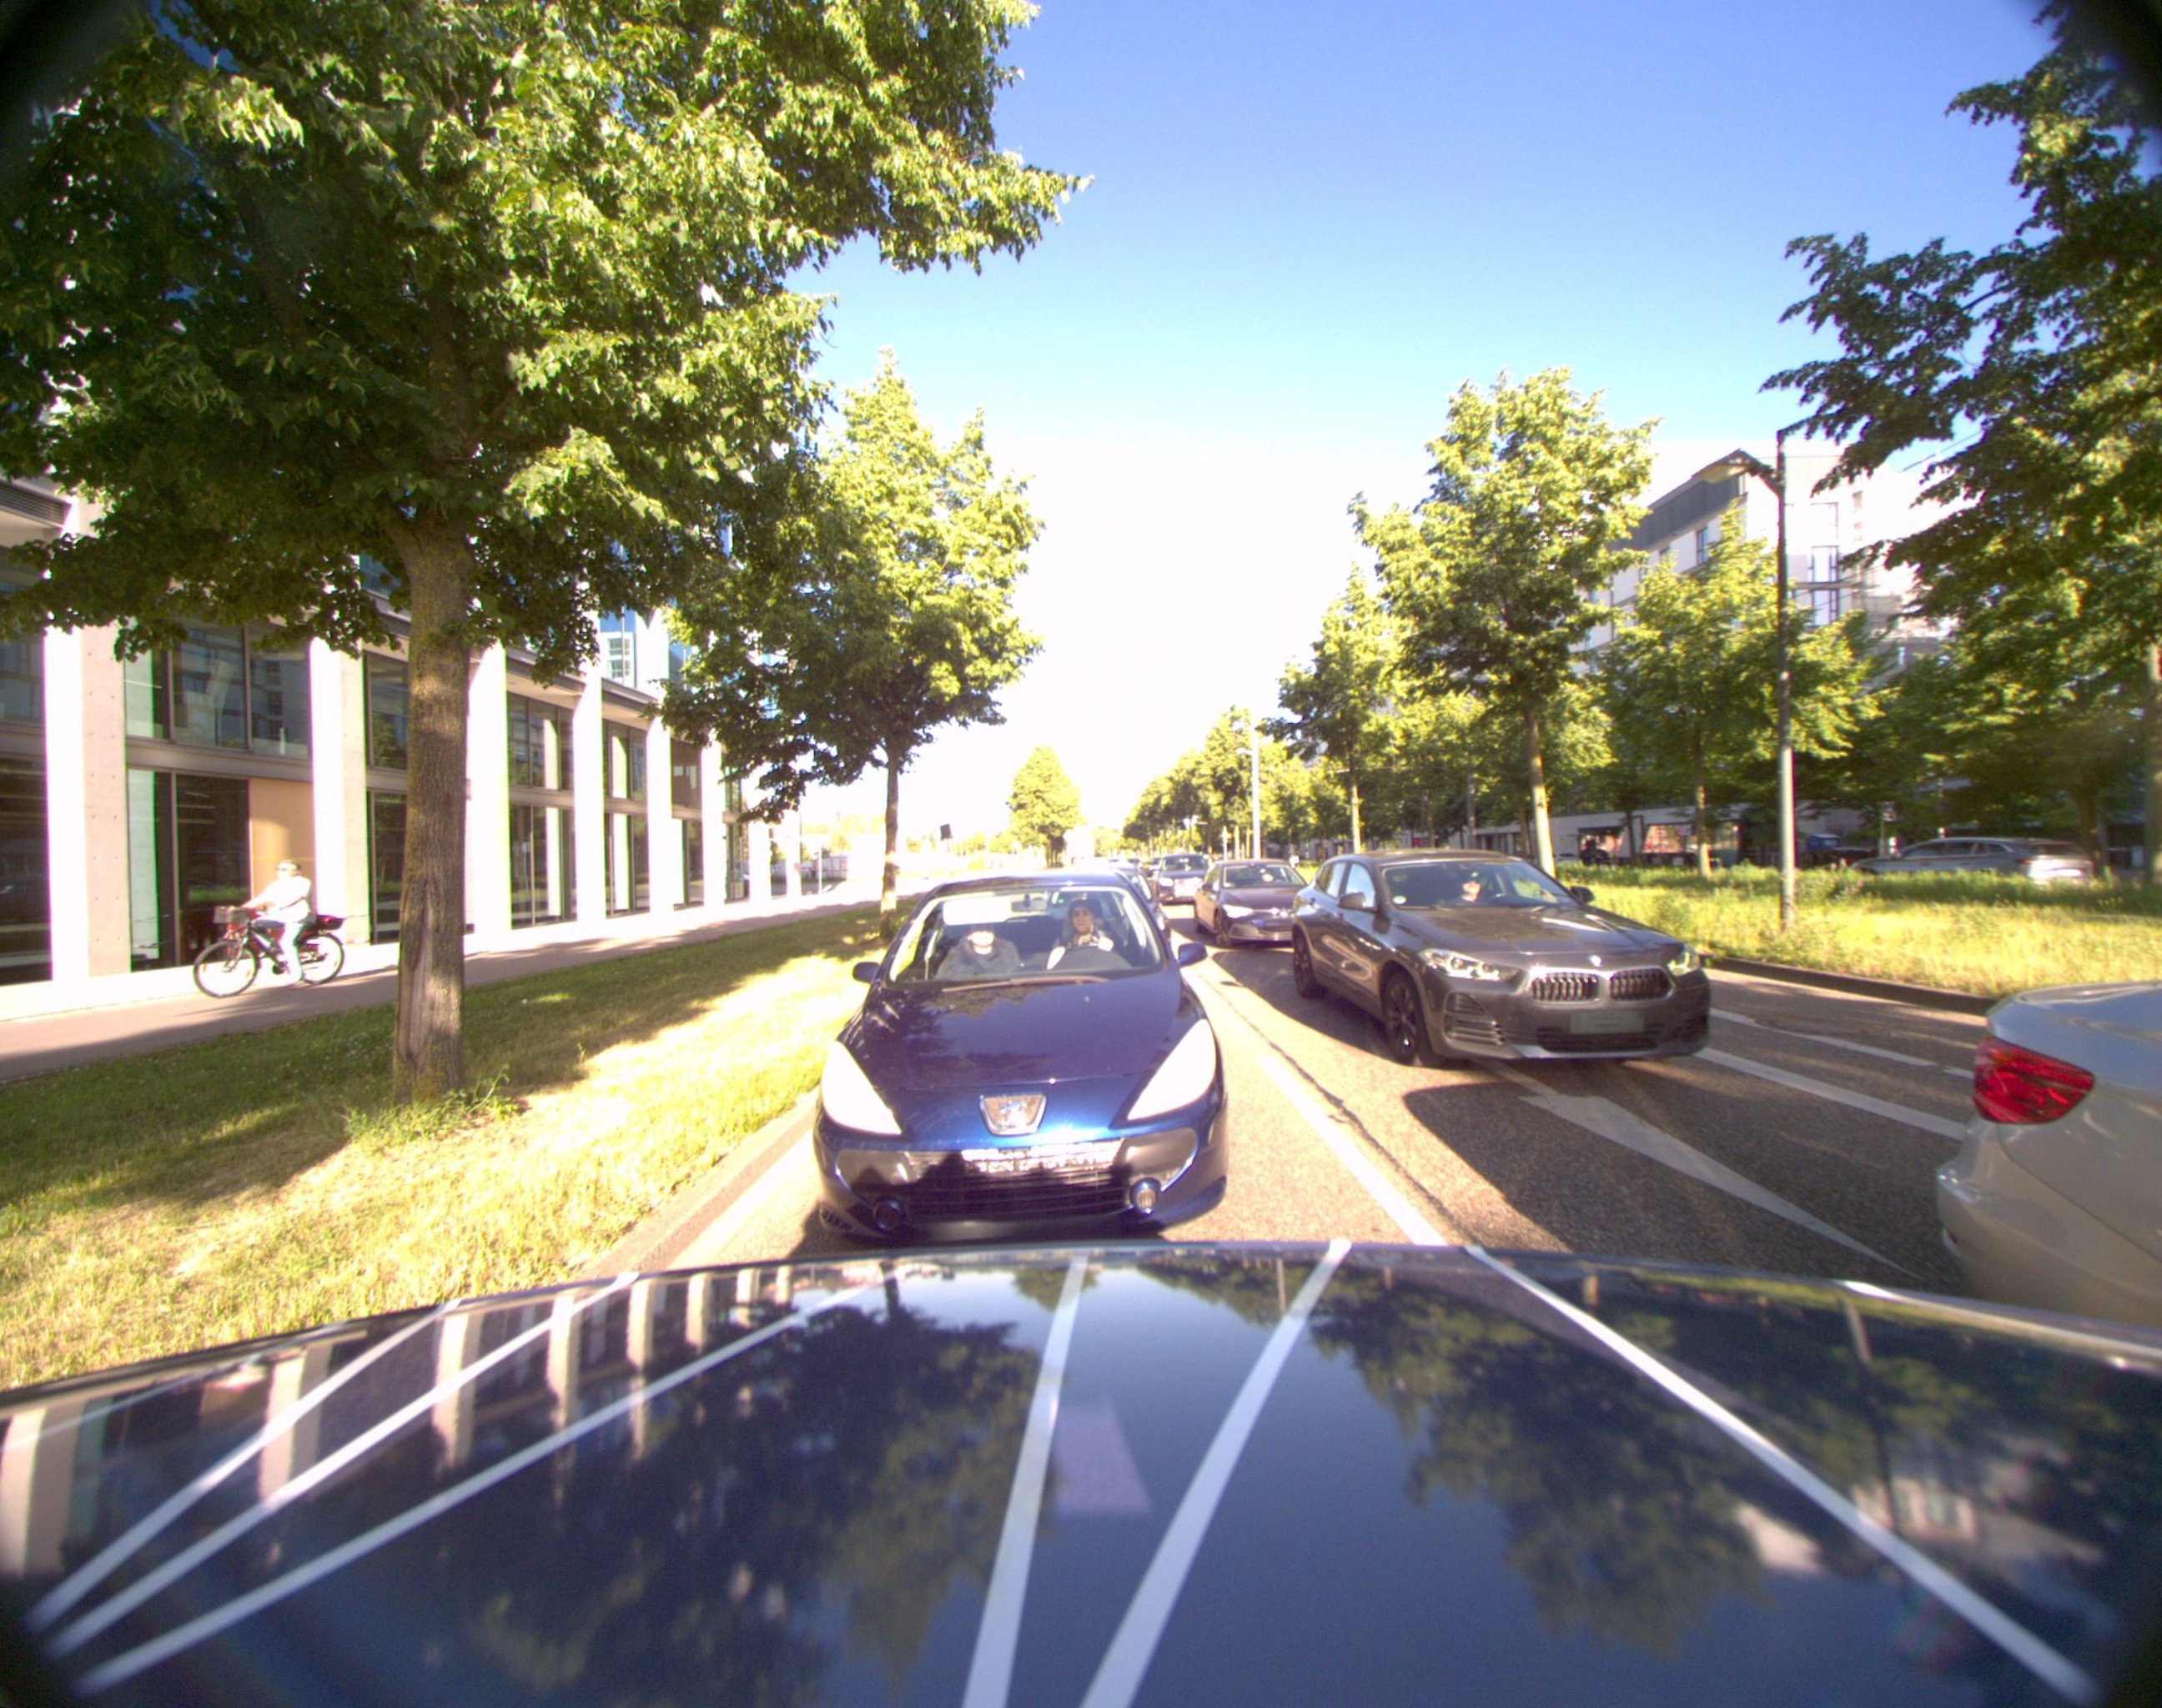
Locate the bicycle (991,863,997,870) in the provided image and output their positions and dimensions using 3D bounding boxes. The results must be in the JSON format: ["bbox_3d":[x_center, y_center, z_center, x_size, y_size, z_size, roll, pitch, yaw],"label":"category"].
[{"bbox_3d":[-10.286,1.469,90.137,0.464,0.813,1.344,-2,1,1],"label":"bicycle"}]

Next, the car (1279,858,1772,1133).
[{"bbox_3d":[3.083,0.829,6.391,1.812,1.513,4.029,-1,0,1],"label":"car"}]

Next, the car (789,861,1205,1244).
[{"bbox_3d":[-0.320,0.842,5.037,1.686,1.513,3.785,-1,0,1],"label":"car"}]

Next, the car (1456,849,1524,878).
[{"bbox_3d":[26.211,0.580,48.875,1.858,1.719,4.792,-1,0,1],"label":"car"}]

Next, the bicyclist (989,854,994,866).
[{"bbox_3d":[-10.151,0.668,86.117,0.448,1.282,0.418,-2,1,1],"label":"bicyclist"}]

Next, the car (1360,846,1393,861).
[{"bbox_3d":[34.702,-0.045,89.379,2.012,1.689,4.791,-1,0,-1],"label":"car"}]

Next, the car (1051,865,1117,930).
[{"bbox_3d":[0.092,0.980,18.608,1.407,1.326,3.785,-1,0,1],"label":"car"}]

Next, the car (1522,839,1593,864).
[{"bbox_3d":[34.837,-0.168,55.734,2.012,1.689,4.791,-1,0,-3],"label":"car"}]

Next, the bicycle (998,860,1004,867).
[{"bbox_3d":[-9.062,1.085,86.232,0.464,0.813,1.344,-2,1,1],"label":"bicycle"}]

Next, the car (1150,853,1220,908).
[{"bbox_3d":[3.278,0.791,24.624,1.812,1.581,4.165,-1,0,2],"label":"car"}]

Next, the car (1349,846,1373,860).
[{"bbox_3d":[34.712,-0.156,94.207,1.601,1.659,3.743,-1,0,1],"label":"car"}]

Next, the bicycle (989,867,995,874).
[{"bbox_3d":[-10.118,1.859,86.174,0.415,0.813,1.320,-2,1,1],"label":"bicycle"}]

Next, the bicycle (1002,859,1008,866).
[{"bbox_3d":[-9.037,1.034,90.310,0.464,0.813,1.344,-2,1,1],"label":"bicycle"}]

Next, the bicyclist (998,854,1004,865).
[{"bbox_3d":[-9.060,0.660,86.288,0.534,1.210,0.507,-2,1,1],"label":"bicyclist"}]

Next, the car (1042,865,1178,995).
[{"bbox_3d":[0.377,0.955,11.374,1.612,1.463,4.395,-1,0,1],"label":"car"}]

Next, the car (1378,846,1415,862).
[{"bbox_3d":[34.670,0.005,83.572,2.012,1.689,4.791,-1,0,-1],"label":"car"}]

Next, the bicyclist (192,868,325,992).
[{"bbox_3d":[-10.716,0.956,9.934,0.773,1.522,0.849,-1,1,1],"label":"bicyclist"}]

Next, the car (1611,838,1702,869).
[{"bbox_3d":[34.424,-0.036,45.609,1.858,1.674,4.792,-1,0,1],"label":"car"}]

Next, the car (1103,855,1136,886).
[{"bbox_3d":[2.105,0.862,42.454,1.705,1.591,3.785,-1,0,1],"label":"car"}]

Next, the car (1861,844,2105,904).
[{"bbox_3d":[23.312,0.465,19.901,1.666,1.384,4.000,-1,0,1],"label":"car"}]

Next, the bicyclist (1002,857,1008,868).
[{"bbox_3d":[-9.050,0.989,90.250,0.534,1.282,0.521,-2,1,1],"label":"bicyclist"}]

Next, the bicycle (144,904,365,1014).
[{"bbox_3d":[-10.717,1.309,9.986,0.743,1.167,1.961,0,0,1],"label":"bicycle"}]

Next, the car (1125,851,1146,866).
[{"bbox_3d":[6.203,0.517,87.570,2.012,1.689,4.791,-1,0,-1],"label":"car"}]

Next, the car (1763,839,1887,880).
[{"bbox_3d":[34.236,0.234,35.122,1.858,1.739,4.000,-1,0,1],"label":"car"}]

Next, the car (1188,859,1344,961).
[{"bbox_3d":[3.051,0.849,13.461,1.812,1.445,4.254,-1,0,2],"label":"car"}]

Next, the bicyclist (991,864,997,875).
[{"bbox_3d":[-10.305,1.786,90.126,0.534,1.282,0.457,-2,1,1],"label":"bicyclist"}]
